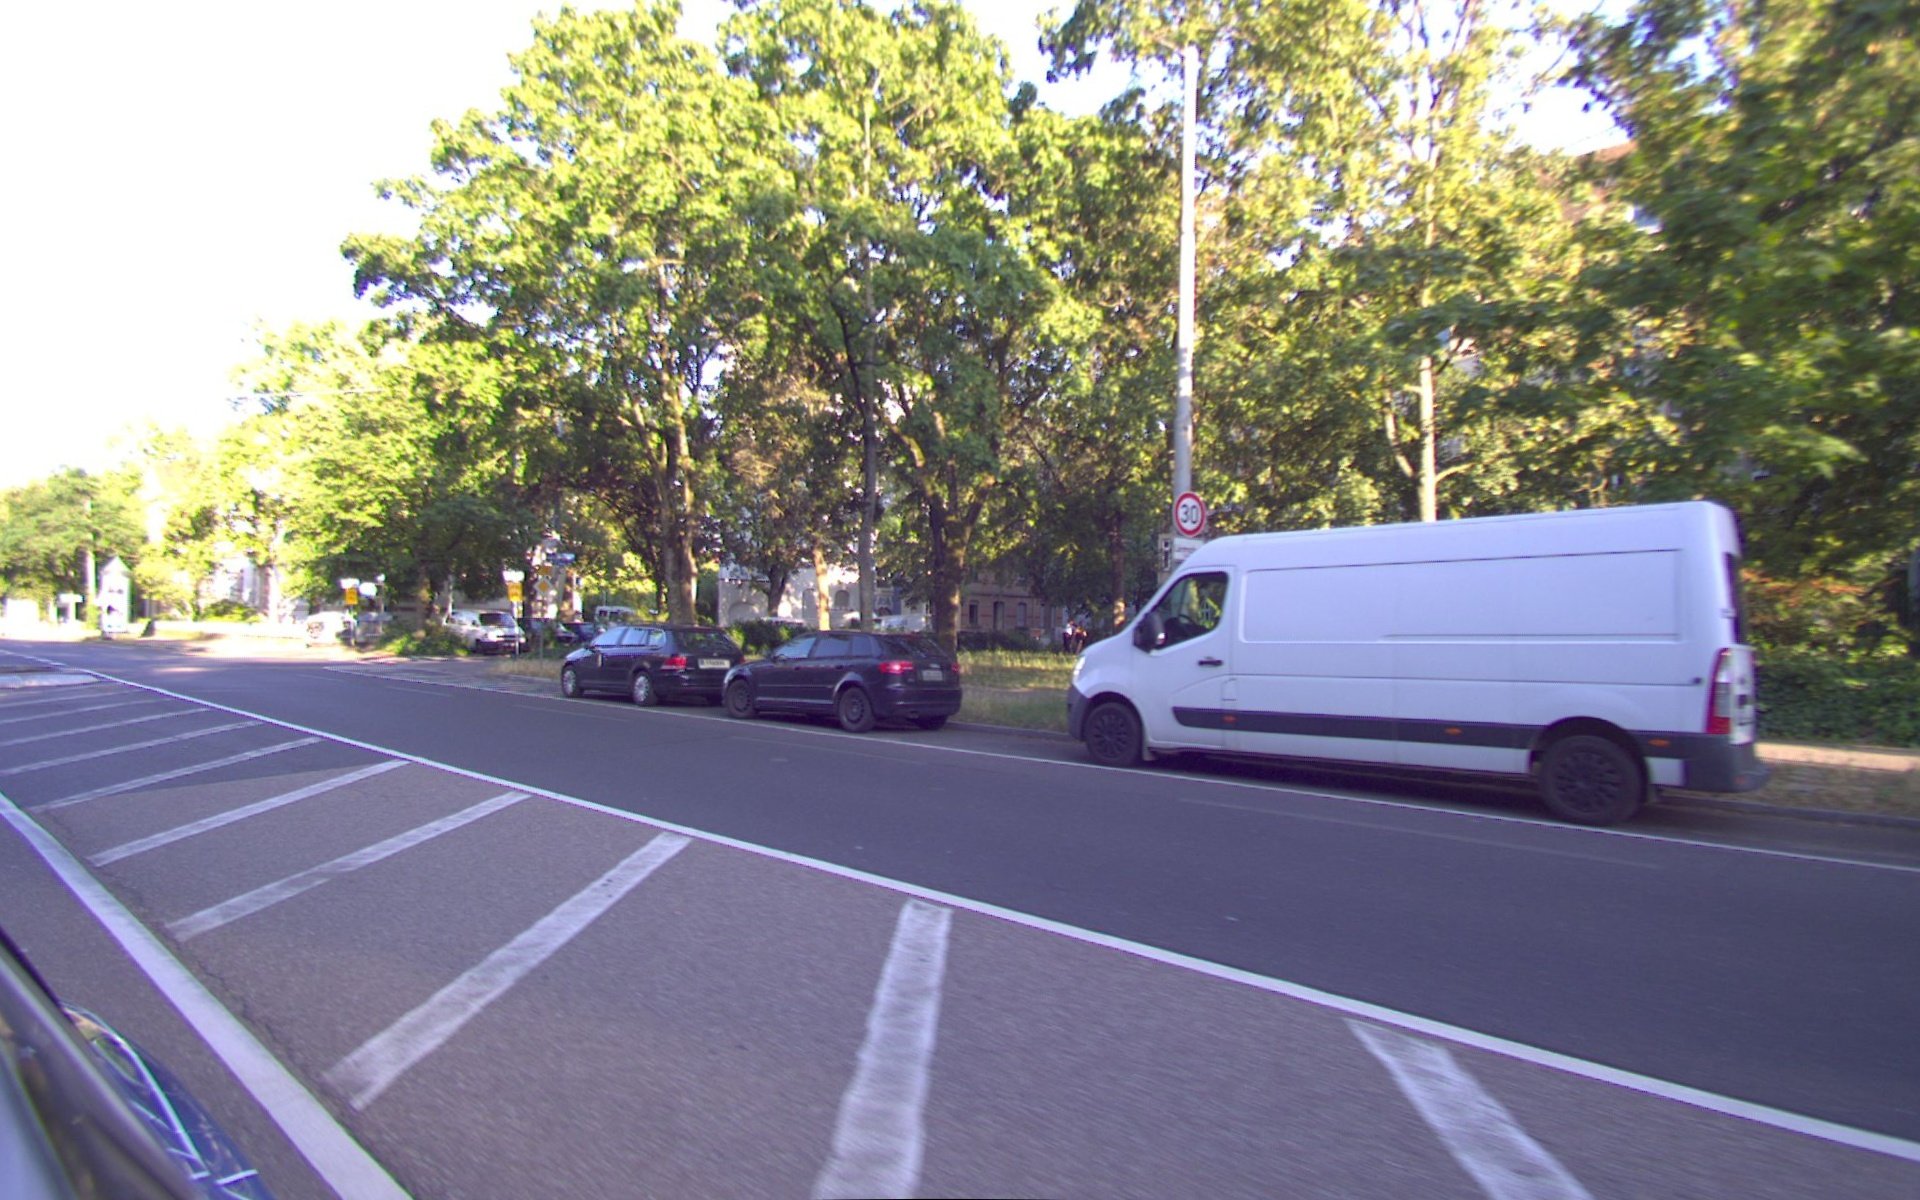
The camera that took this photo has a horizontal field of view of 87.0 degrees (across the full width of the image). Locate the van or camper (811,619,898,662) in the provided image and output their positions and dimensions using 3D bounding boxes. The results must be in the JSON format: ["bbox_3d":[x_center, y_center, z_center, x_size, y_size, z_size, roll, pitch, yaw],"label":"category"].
[{"bbox_3d":[-6.379,2.404,60.791,5.424,2.490,2.044,-1,-2,40],"label":"van or camper"}]

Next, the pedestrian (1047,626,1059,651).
[{"bbox_3d":[7.526,3.119,81.666,0.682,2.029,0.657,3,-3,-44],"label":"pedestrian"}]

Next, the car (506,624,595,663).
[{"bbox_3d":[-18.564,1.940,45.832,3.994,1.674,1.975,-1,-2,38],"label":"car"}]

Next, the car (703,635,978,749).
[{"bbox_3d":[-1.877,1.279,15.048,4.240,1.440,1.611,-1,-4,41],"label":"car"}]

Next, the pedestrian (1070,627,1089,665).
[{"bbox_3d":[4.579,1.762,38.811,0.557,1.406,0.452,-1,-3,35],"label":"pedestrian"}]

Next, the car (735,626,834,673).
[{"bbox_3d":[-7.488,2.067,43.069,3.994,1.896,1.975,-1,-1,38],"label":"car"}]

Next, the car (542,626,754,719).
[{"bbox_3d":[-5.848,1.264,18.673,4.543,1.518,1.606,-1,-4,42],"label":"car"}]

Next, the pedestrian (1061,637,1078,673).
[{"bbox_3d":[4.316,2.166,39.940,0.450,1.406,0.560,2,-3,-18],"label":"pedestrian"}]

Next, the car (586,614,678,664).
[{"bbox_3d":[-16.217,1.904,49.921,5.100,2.306,2.190,-1,-3,44],"label":"car"}]

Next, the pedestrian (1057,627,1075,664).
[{"bbox_3d":[4.103,1.762,39.164,0.557,1.406,0.452,-1,-3,35],"label":"pedestrian"}]

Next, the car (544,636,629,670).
[{"bbox_3d":[-17.657,2.471,47.824,3.994,1.551,1.975,-1,-2,38],"label":"car"}]

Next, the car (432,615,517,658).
[{"bbox_3d":[-21.456,1.596,44.689,3.994,1.809,1.801,-1,-2,38],"label":"car"}]

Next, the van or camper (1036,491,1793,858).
[{"bbox_3d":[3.894,0.613,9.749,6.302,2.487,2.069,-1,-4,41],"label":"van or camper"}]
